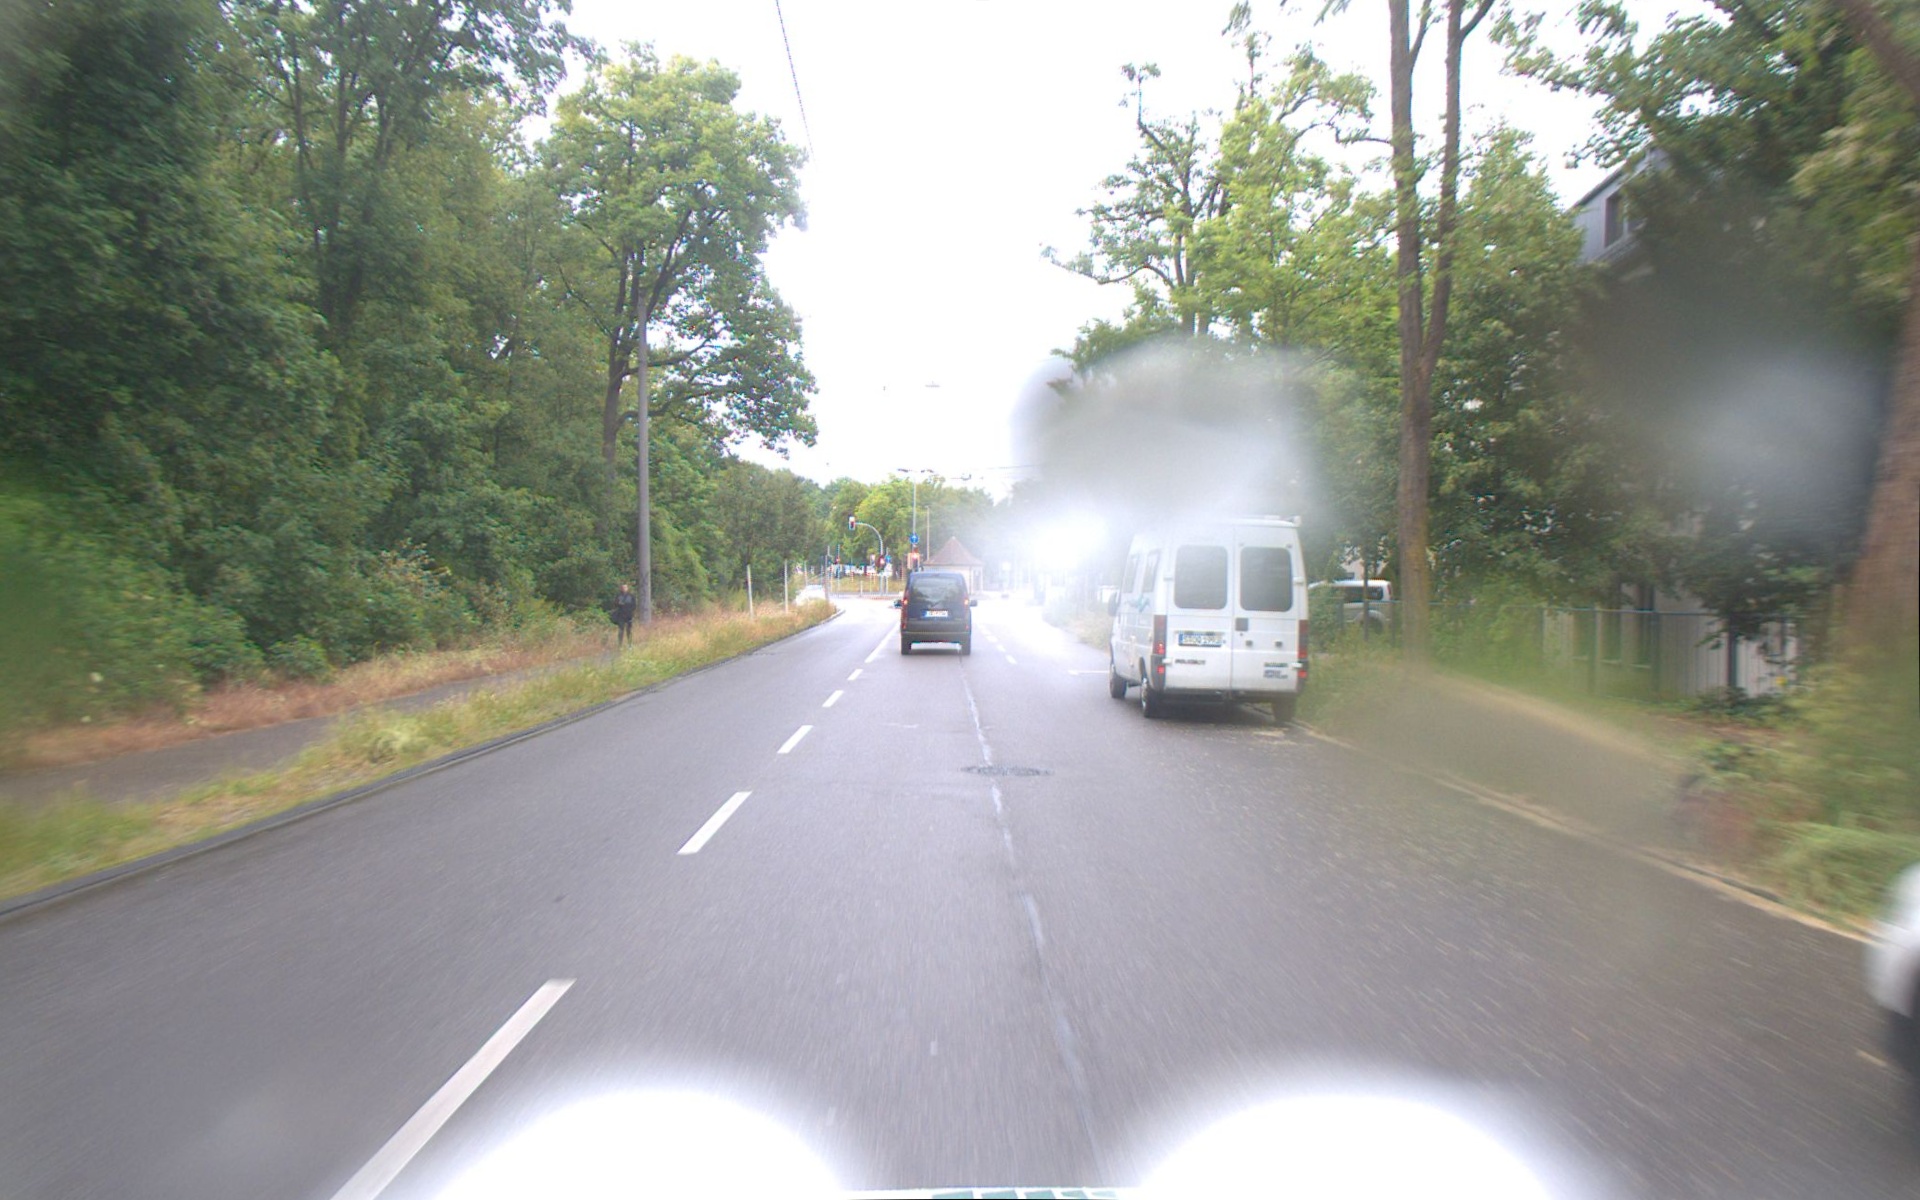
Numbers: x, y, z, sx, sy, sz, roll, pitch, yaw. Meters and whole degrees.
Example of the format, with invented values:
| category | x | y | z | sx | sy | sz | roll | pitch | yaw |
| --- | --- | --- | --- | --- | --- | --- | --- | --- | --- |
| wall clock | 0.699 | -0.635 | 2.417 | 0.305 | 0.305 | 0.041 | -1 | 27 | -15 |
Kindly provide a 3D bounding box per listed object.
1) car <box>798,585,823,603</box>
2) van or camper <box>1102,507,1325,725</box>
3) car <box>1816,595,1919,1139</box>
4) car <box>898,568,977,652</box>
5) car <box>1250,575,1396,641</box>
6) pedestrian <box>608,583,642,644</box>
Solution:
| category | x | y | z | sx | sy | sz | roll | pitch | yaw |
| --- | --- | --- | --- | --- | --- | --- | --- | --- | --- |
| car | -12.297 | -0.492 | 136.234 | 1.955 | 1.334 | 4.355 | -2 | 1 | -5 |
| van or camper | 3.280 | 0.171 | 22.643 | 1.996 | 2.522 | 5.637 | 3 | 0 | -1 |
| car | 3.447 | 0.773 | 3.236 | 1.539 | 1.498 | 3.764 | 2 | 0 | 0 |
| car | -0.523 | 0.203 | 38.473 | 1.696 | 1.817 | 3.999 | 1 | 1 | -1 |
| car | 10.953 | 0.215 | 50.200 | 4.212 | 1.849 | 1.876 | 2 | 0 | 10 |
| pedestrian | -8.990 | 0.359 | 44.395 | 0.765 | 1.636 | 0.732 | 0 | 0 | -2 |
